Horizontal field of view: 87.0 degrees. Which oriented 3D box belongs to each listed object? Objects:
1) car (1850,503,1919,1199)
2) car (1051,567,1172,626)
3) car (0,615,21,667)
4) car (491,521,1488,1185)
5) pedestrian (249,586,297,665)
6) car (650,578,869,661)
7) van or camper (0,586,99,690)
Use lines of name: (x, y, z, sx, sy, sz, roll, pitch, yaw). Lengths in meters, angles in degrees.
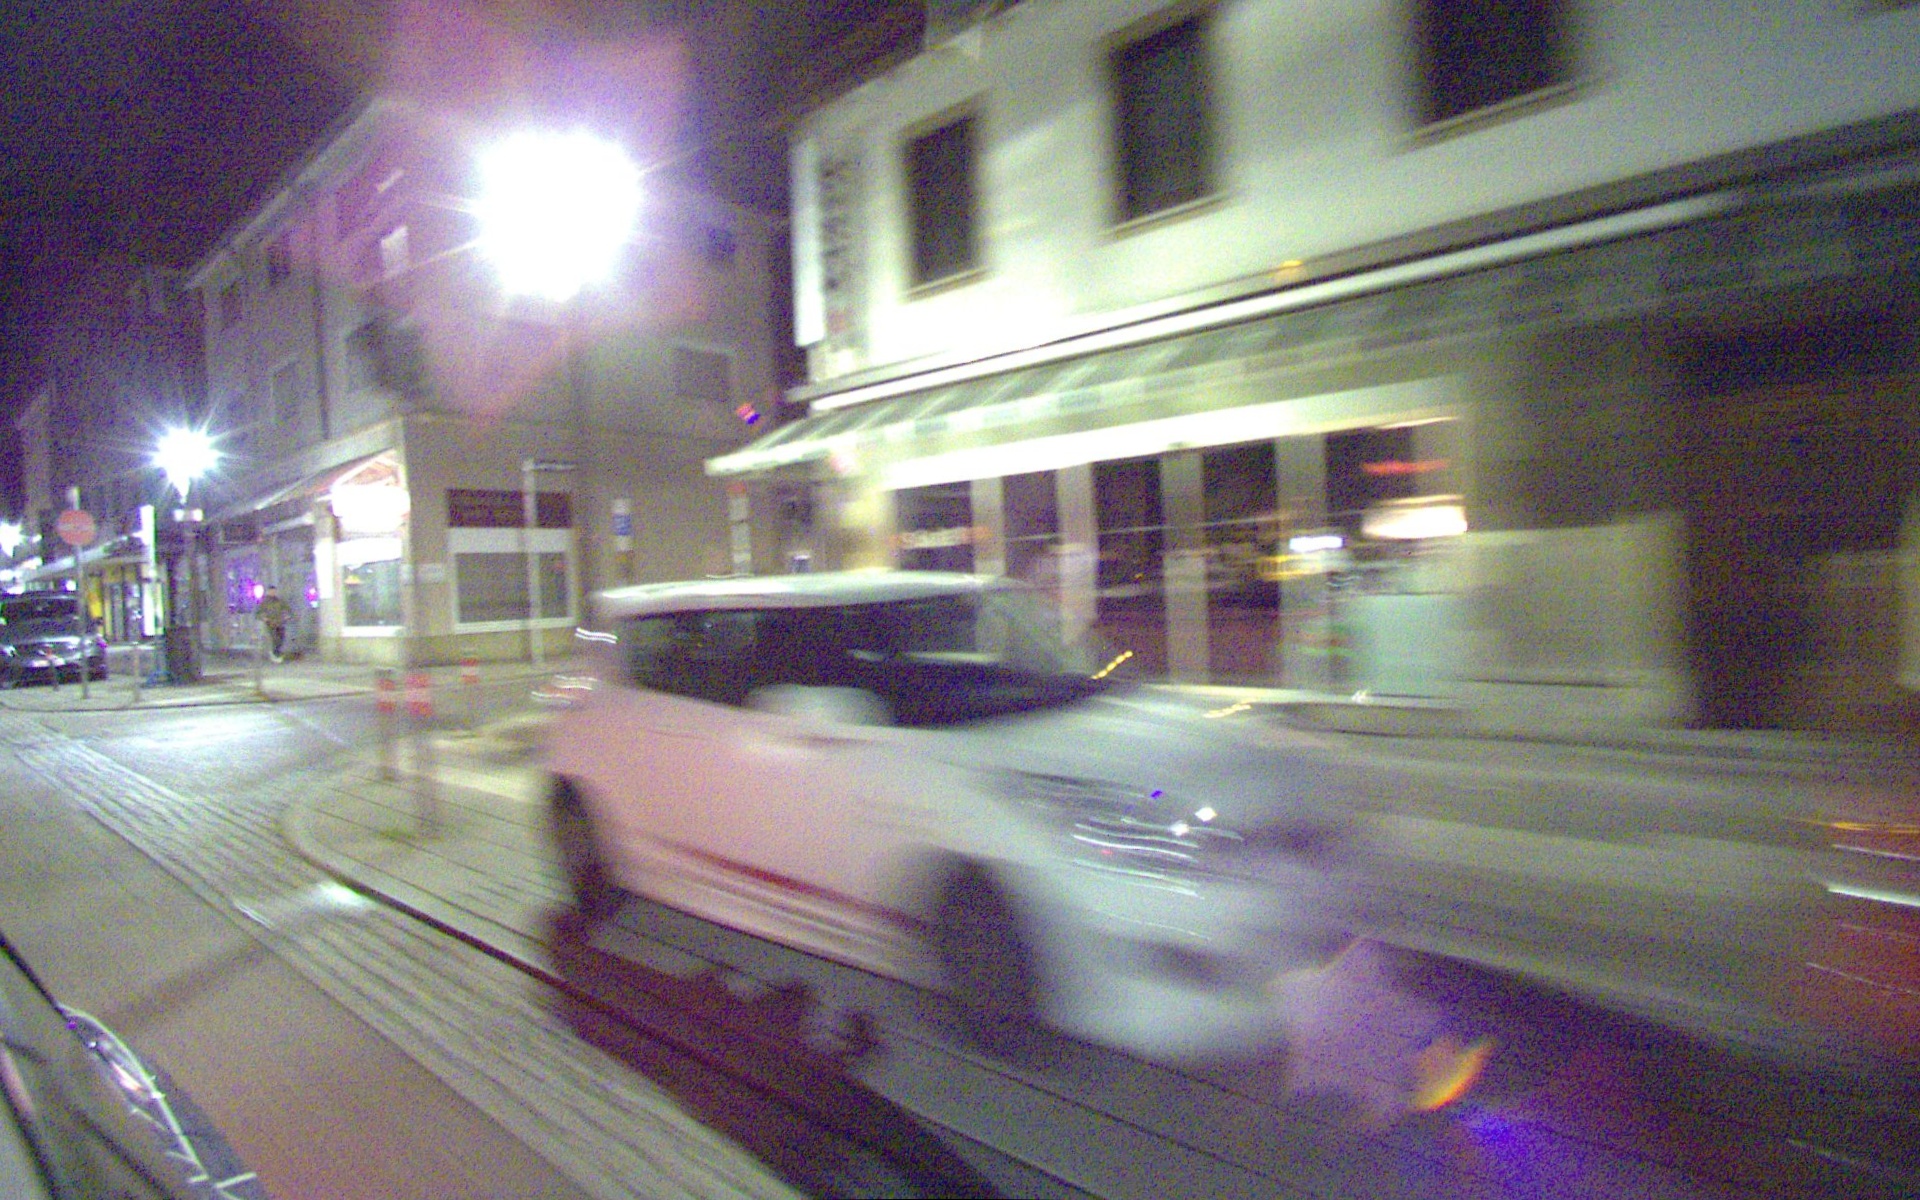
car: (3.914, 0.504, 0.604, 5.004, 1.498, 1.999, -2, 3, 41)
car: (4.919, -0.147, 32.497, 1.998, 1.660, 3.947, -4, -1, 40)
car: (-28.677, 1.228, 29.347, 4.384, 1.423, 1.699, -1, 2, 42)
car: (-0.166, 0.568, 4.167, 3.844, 1.488, 1.711, -2, 2, 41)
pedestrian: (-15.698, 0.573, 23.126, 1.022, 1.758, 0.614, -1, 1, 42)
car: (-4.199, 0.378, 21.812, 1.779, 1.411, 4.396, -5, 0, 41)
van or camper: (-19.815, 0.764, 21.646, 1.824, 1.956, 5.158, -3, 2, -43)
